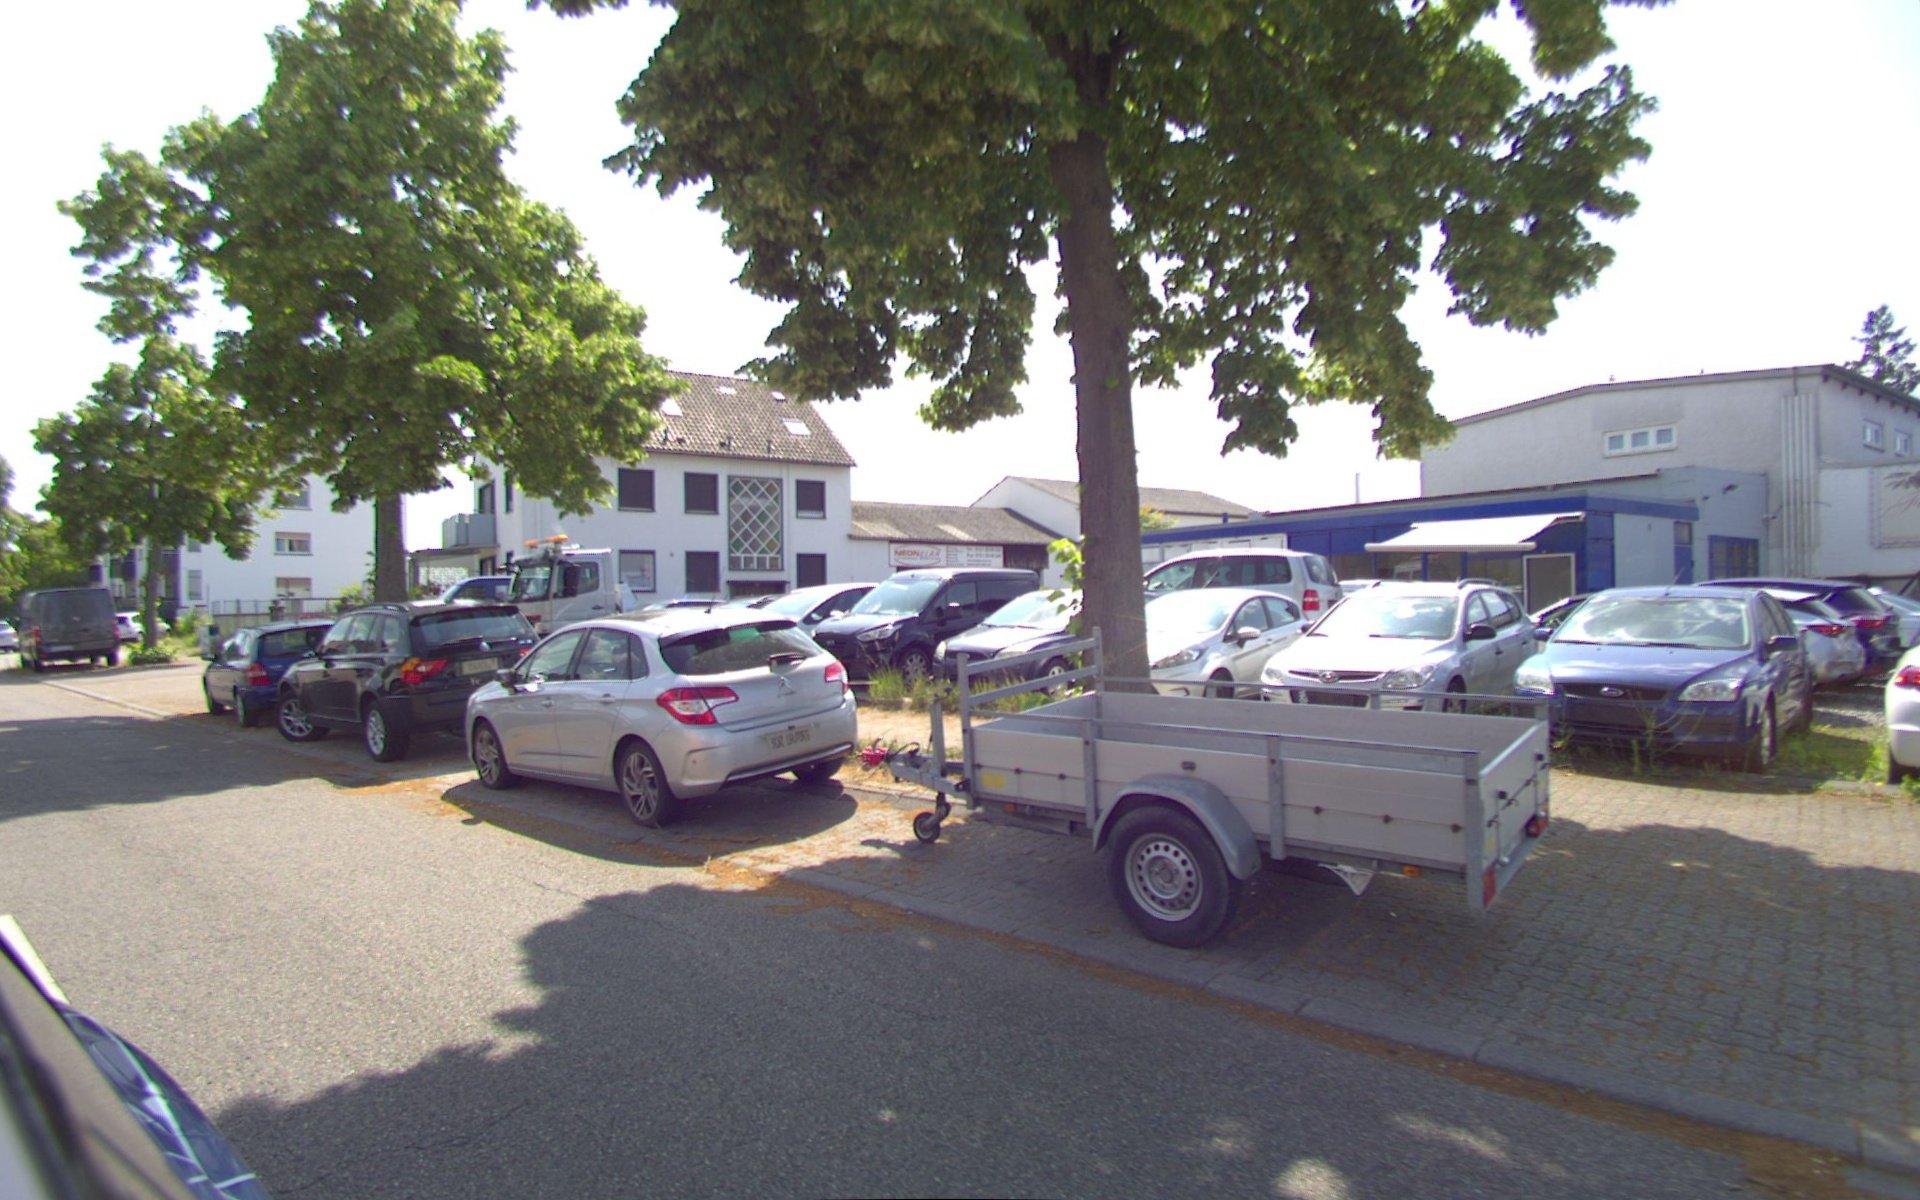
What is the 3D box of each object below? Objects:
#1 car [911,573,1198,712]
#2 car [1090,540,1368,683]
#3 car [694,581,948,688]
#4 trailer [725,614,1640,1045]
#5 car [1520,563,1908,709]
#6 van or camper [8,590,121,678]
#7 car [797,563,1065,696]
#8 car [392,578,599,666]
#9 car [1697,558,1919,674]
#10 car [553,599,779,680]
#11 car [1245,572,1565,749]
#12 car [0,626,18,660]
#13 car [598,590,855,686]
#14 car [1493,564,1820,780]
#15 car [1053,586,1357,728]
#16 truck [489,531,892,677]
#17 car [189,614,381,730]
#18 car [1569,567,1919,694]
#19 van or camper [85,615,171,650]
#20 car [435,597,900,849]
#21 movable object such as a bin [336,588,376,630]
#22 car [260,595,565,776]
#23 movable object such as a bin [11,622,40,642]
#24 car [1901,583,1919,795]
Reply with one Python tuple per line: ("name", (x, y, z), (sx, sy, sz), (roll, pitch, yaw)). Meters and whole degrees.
("car", (1.423, 0.500, 13.968), (1.827, 1.631, 4.098), (0, 0, 43))
("car", (4.258, 0.199, 16.342), (3.995, 2.029, 1.694), (-1, -1, 39))
("car", (-2.280, 0.547, 17.584), (1.826, 1.627, 4.251), (-2, -2, 40))
("trailer", (0.844, 0.809, 5.454), (4.505, 1.299, 1.744), (-1, 2, 41))
("car", (10.193, 0.454, 13.937), (1.689, 1.709, 4.006), (0, -1, -41))
("van or camper", (-27.458, 0.985, 30.937), (5.935, 2.334, 1.972), (-1, 3, 44))
("car", (-0.336, 0.402, 15.753), (1.827, 1.802, 4.098), (0, 0, 43))
("car", (-12.836, 0.536, 28.132), (4.935, 2.248, 2.005), (-1, 1, -36))
("car", (15.736, 0.273, 17.959), (1.689, 1.910, 4.006), (0, -1, -41))
("car", (-5.878, 0.775, 20.569), (1.678, 1.470, 4.151), (-2, -3, 43))
("car", (4.829, 0.516, 10.677), (1.827, 1.501, 4.098), (0, 0, 43))
("car", (-45.103, 2.062, 46.669), (4.703, 1.472, 1.732), (-3, 2, 39))
("car", (-4.268, 0.688, 19.021), (1.827, 1.594, 4.475), (-2, -3, 43))
("car", (6.398, 0.504, 9.109), (1.827, 1.501, 3.982), (0, 0, 43))
("car", (3.122, 0.582, 12.371), (1.827, 1.441, 4.098), (0, 0, 43))
("truck", (-5.968, 0.118, 24.084), (9.151, 2.878, 2.722), (0, -2, -45))
("car", (-10.486, 1.011, 15.590), (1.680, 1.495, 4.161), (-1, 0, -45))
("car", (11.725, 0.427, 15.269), (1.689, 1.650, 4.006), (0, -1, -41))
("van or camper", (-41.786, 1.611, 50.925), (1.751, 1.554, 4.011), (-2, 1, -14))
("car", (-2.651, 0.822, 8.562), (4.237, 1.539, 1.813), (-2, 1, 43))
("movable object such as a bin", (-24.247, 0.368, 40.614), (1.291, 1.443, 1.607), (-1, -7, -33))
("car", (-6.608, 0.877, 11.998), (4.397, 1.712, 1.676), (-2, 1, 41))
("movable object such as a bin", (-68.630, 2.325, 74.330), (1.288, 1.396, 1.284), (-2, 0, 35))
("car", (8.293, 0.541, 7.425), (3.980, 1.384, 1.828), (-1, 0, -44))
